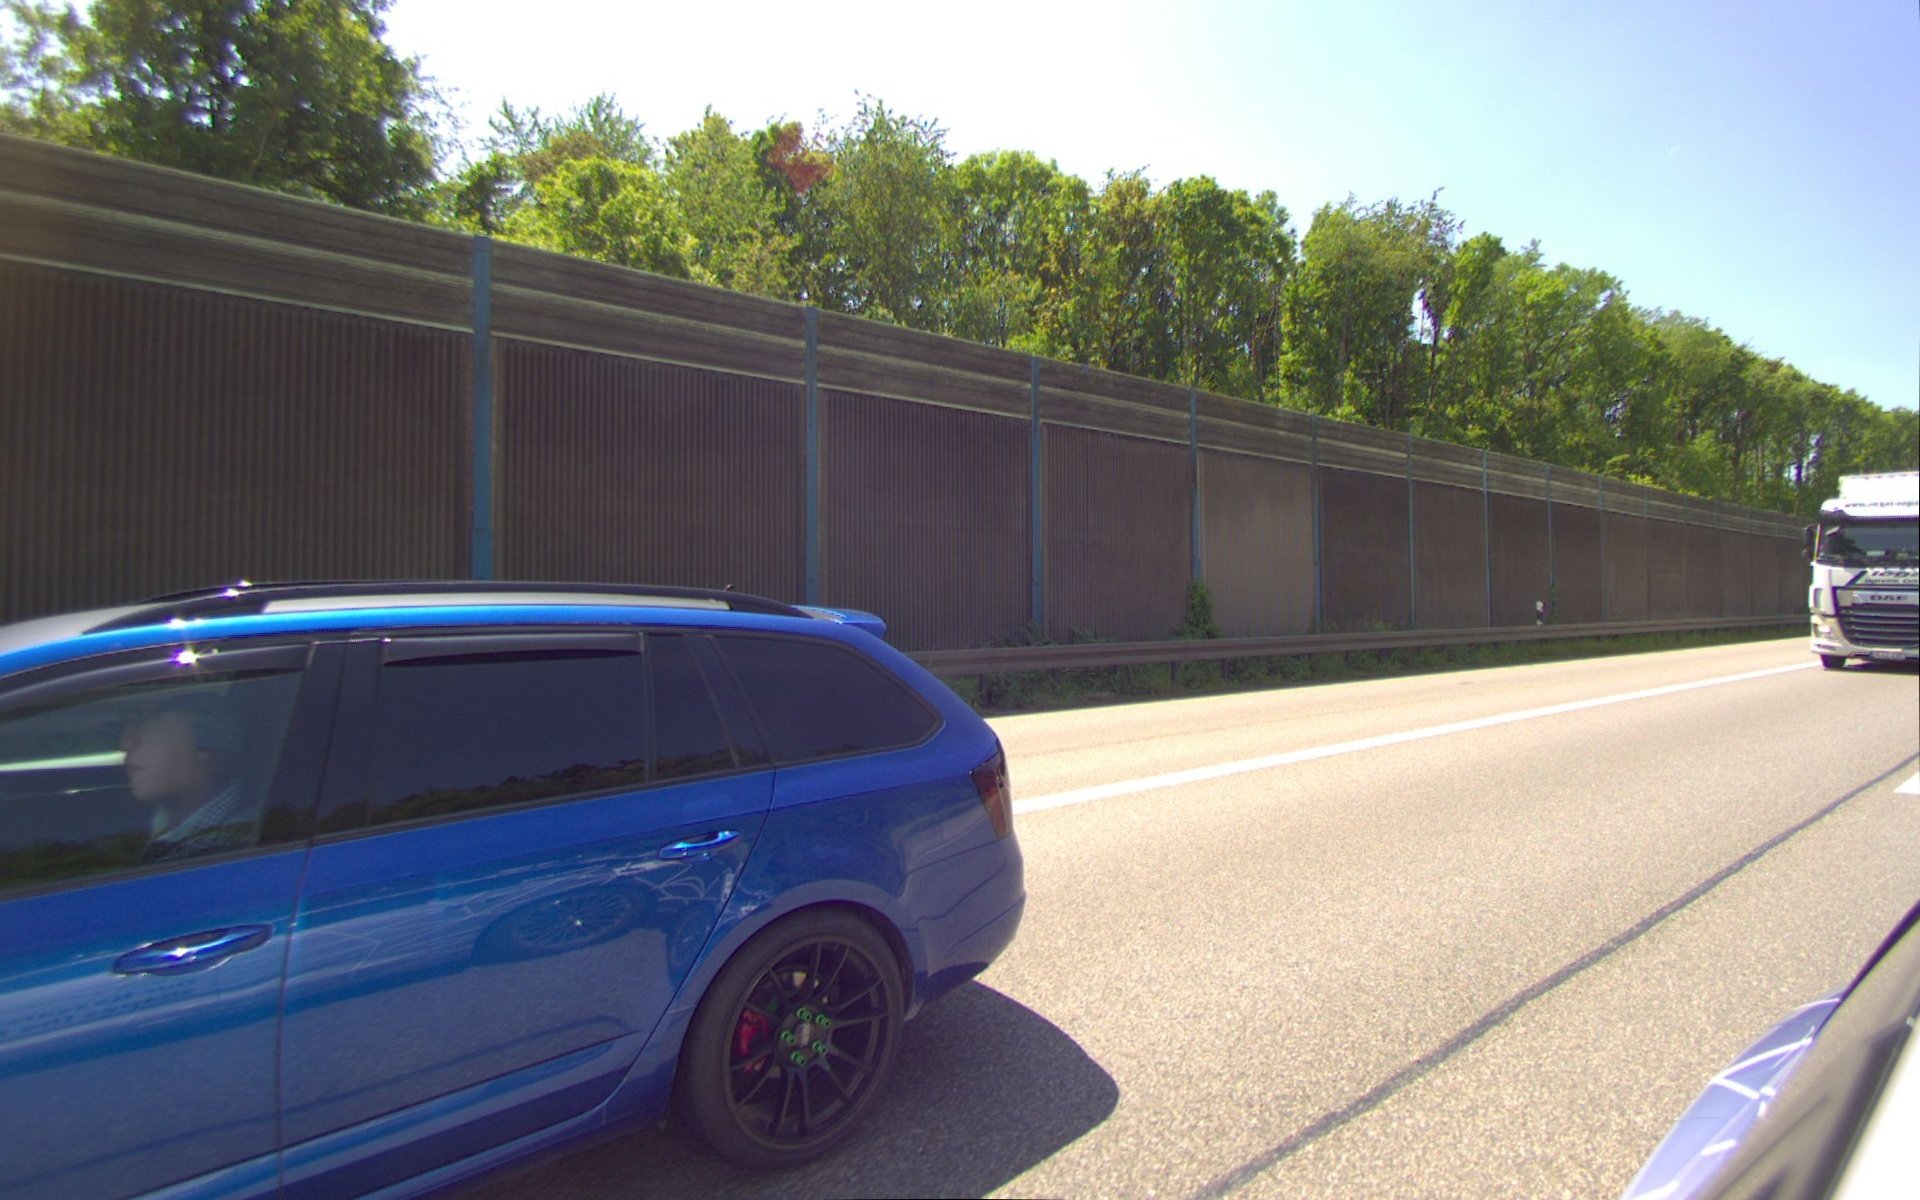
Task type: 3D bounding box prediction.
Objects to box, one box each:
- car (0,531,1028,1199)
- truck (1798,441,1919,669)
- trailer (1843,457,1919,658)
[{"bbox_3d":[-2.000,0.629,2.246,4.403,1.501,1.654,-2,2,-41],"label":"car"},{"bbox_3d":[19.974,-0.841,20.955,5.760,4.258,2.794,0,0,-37],"label":"truck"},{"bbox_3d":[25.609,-0.883,25.254,12.997,4.258,2.793,0,0,-37],"label":"trailer"}]
